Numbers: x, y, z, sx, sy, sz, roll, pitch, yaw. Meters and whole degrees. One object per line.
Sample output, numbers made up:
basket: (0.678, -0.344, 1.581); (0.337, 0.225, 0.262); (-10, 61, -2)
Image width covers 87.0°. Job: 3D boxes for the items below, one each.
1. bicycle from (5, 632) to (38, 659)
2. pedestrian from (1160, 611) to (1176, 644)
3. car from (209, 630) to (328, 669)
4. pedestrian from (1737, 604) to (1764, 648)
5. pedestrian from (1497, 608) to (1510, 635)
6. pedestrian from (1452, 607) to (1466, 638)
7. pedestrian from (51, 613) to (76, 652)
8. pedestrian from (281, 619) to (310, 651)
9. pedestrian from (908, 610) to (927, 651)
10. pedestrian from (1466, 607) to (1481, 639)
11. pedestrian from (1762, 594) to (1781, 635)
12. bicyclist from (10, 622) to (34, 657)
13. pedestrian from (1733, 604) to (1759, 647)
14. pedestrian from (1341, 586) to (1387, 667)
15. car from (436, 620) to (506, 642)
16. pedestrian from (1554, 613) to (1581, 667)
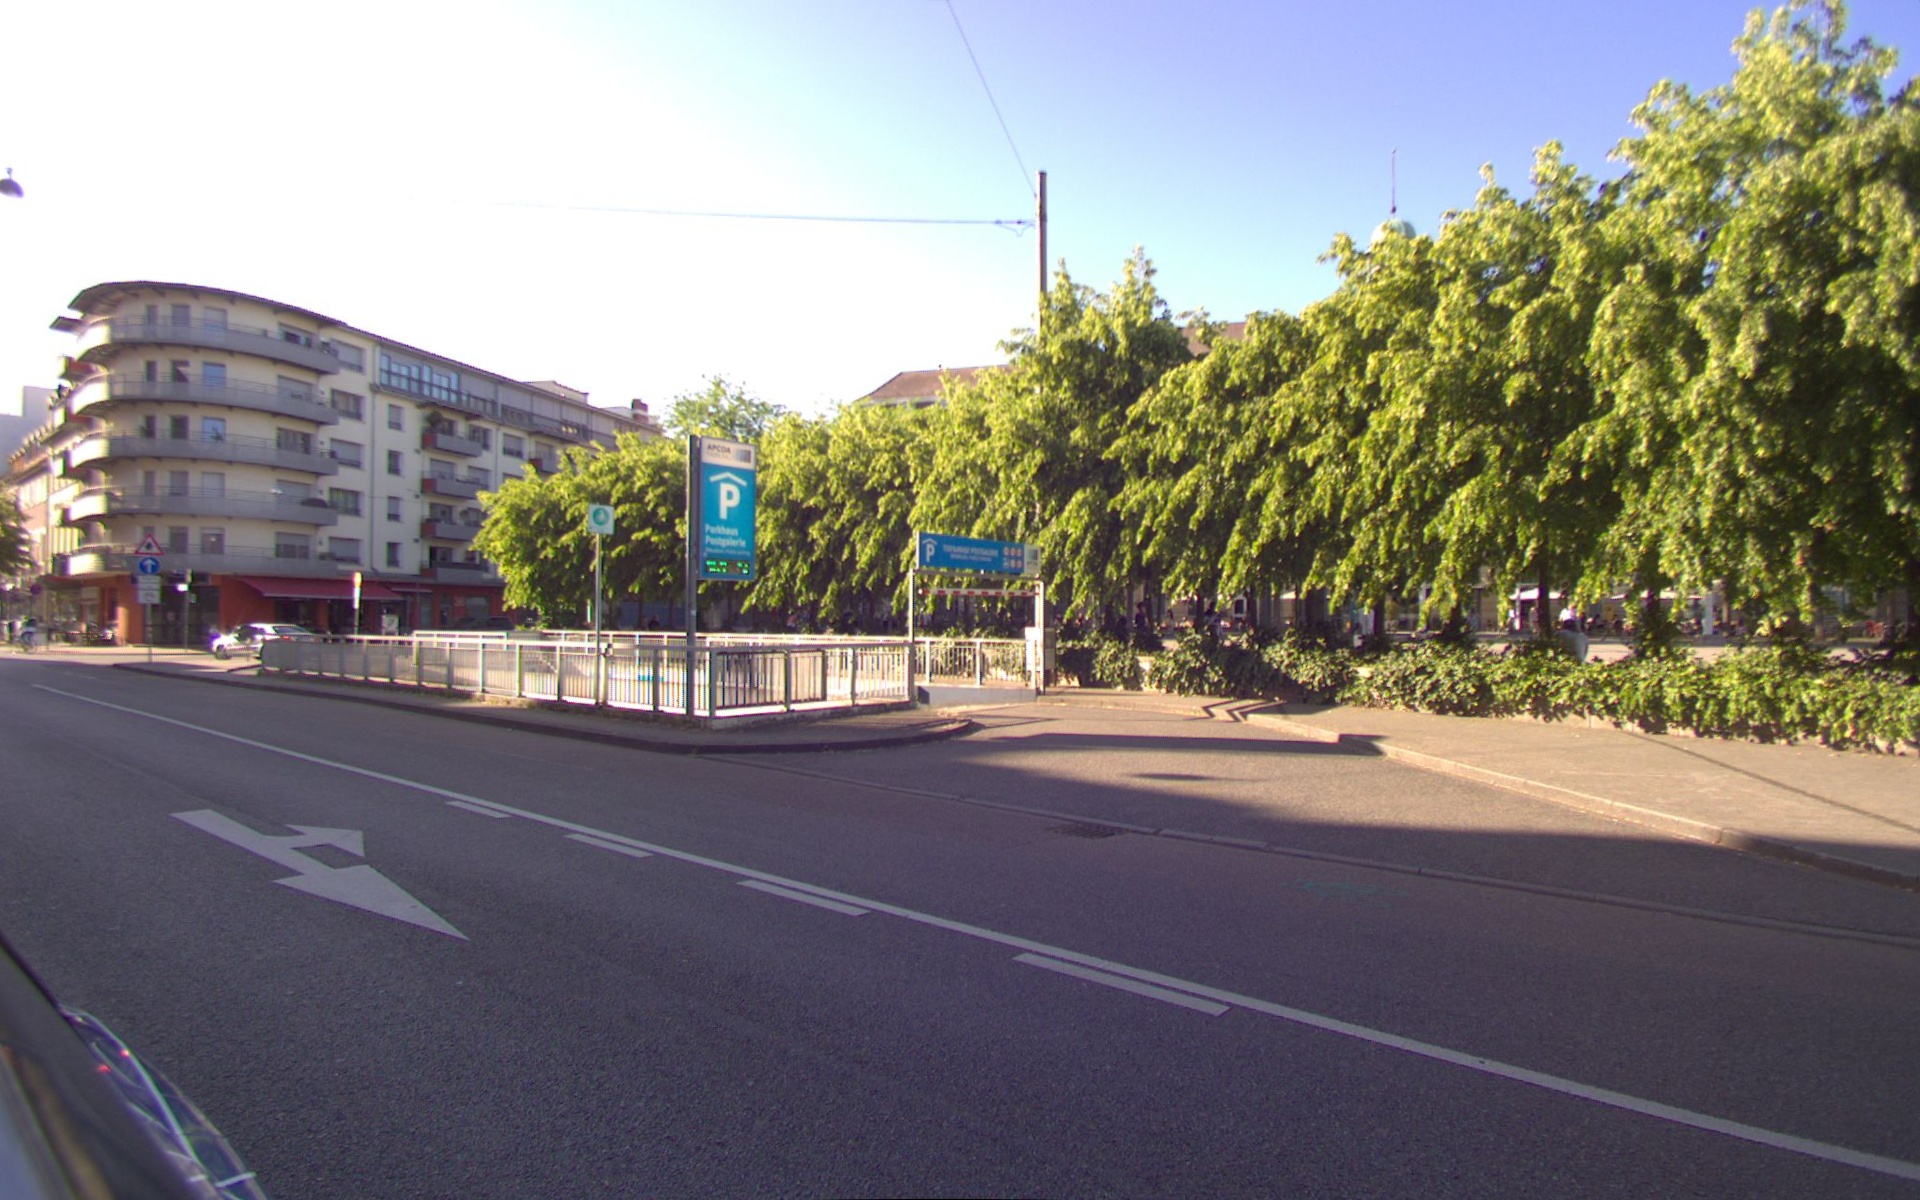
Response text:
bicycle: (-42.390, 2.037, 45.718); (1.584, 1.179, 0.523); (-1, 0, 25)
pedestrian: (10.941, 1.452, 53.214); (0.606, 1.734, 0.640); (-1, 0, 31)
car: (-27.073, 1.912, 39.622); (4.237, 1.363, 1.811); (1, -2, 23)
pedestrian: (31.968, 1.040, 40.949); (0.640, 1.734, 0.606); (-1, 0, 13)
pedestrian: (35.167, 1.380, 65.533); (0.642, 1.734, 0.604); (-1, 0, 20)
pedestrian: (27.824, 1.253, 56.457); (0.643, 1.734, 0.603); (-1, 0, 26)
pedestrian: (-46.633, 1.677, 52.662); (0.888, 2.029, 0.850); (-1, 0, 40)
pedestrian: (-33.868, 1.765, 51.608); (0.877, 1.607, 0.861); (-1, 0, 2)
pedestrian: (-1.825, 1.291, 43.220); (0.604, 1.734, 0.642); (-1, 0, 21)
pedestrian: (27.903, 1.253, 54.998); (0.643, 1.734, 0.603); (-1, 0, 26)
pedestrian: (39.650, 0.710, 49.463); (0.676, 1.963, 0.632); (-1, 0, 38)
bicyclist: (-42.340, 1.764, 45.687); (0.794, 1.559, 0.521); (-1, 0, 25)
pedestrian: (31.958, 1.040, 41.157); (0.641, 1.734, 0.605); (-1, 0, 18)
pedestrian: (8.462, 0.549, 21.215); (0.645, 1.661, 0.626); (-1, 0, -35)
car: (-30.498, 1.896, 63.211); (1.742, 1.311, 3.977); (-1, -1, 17)
pedestrian: (20.028, 1.319, 33.373); (0.643, 1.734, 0.604); (-1, 0, 22)
